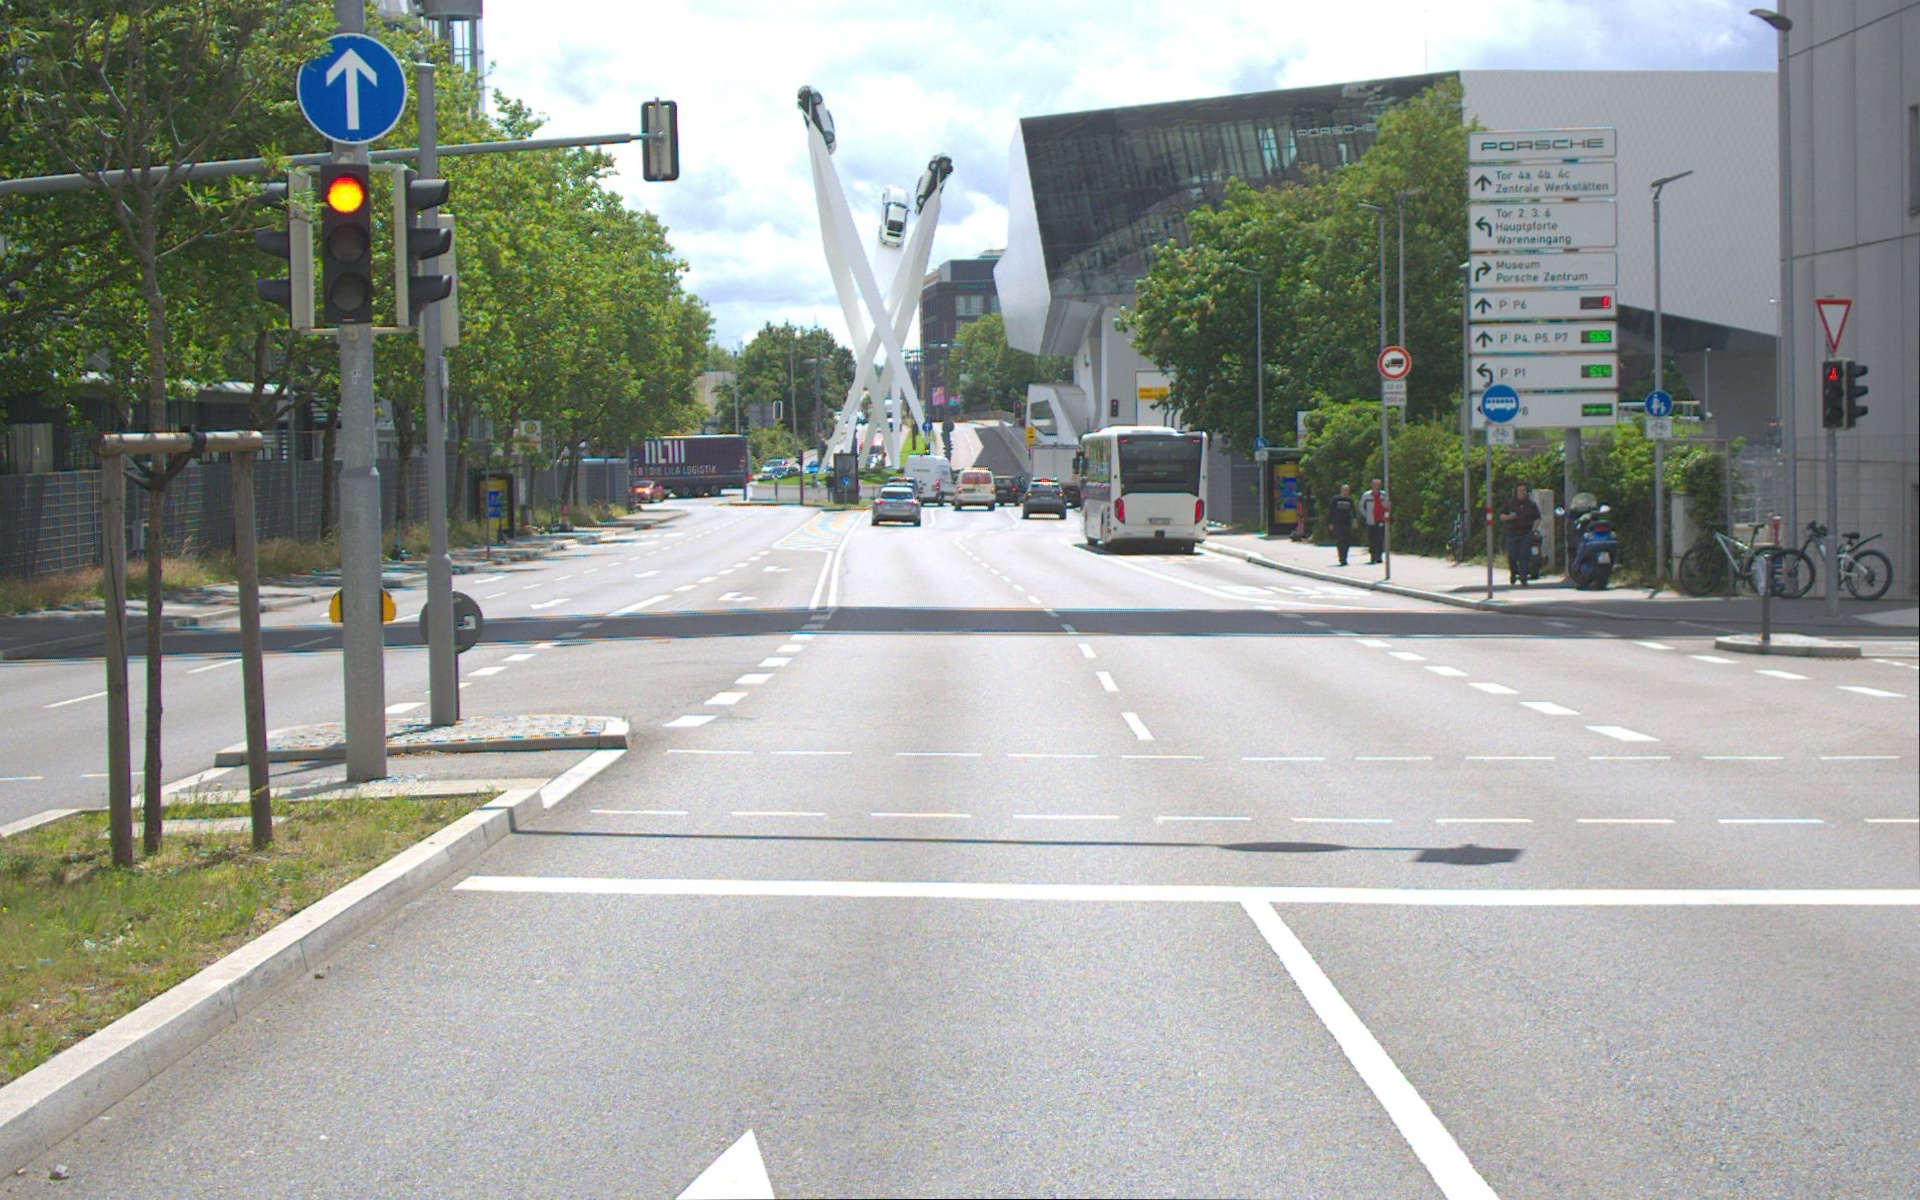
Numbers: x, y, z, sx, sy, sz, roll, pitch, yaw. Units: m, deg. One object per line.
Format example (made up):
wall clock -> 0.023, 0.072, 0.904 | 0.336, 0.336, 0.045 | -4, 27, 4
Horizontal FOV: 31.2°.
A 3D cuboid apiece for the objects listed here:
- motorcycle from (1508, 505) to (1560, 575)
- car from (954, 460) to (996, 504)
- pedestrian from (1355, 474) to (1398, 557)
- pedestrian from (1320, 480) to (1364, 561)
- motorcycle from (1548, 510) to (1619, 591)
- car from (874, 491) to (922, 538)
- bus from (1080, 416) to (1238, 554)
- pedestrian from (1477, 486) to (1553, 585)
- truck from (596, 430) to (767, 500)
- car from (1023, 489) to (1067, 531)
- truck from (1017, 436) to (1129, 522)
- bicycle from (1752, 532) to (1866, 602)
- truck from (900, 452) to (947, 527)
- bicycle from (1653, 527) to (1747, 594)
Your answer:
motorcycle -> 10.338, -1.090, 61.956 | 0.574, 1.199, 2.024 | -2, 2, 0
car -> 0.719, -5.756, 167.675 | 1.993, 2.007, 4.000 | 1, 0, -1
pedestrian -> 8.770, -1.781, 72.353 | 0.820, 1.735, 0.637 | 0, 1, 0
pedestrian -> 8.036, -1.679, 72.377 | 0.820, 1.701, 0.881 | 0, 1, 0
motorcycle -> 9.808, -0.796, 54.130 | 0.706, 1.199, 2.024 | -2, 2, 0
car -> -2.294, -3.193, 128.737 | 1.738, 1.735, 3.692 | 0, 2, 0
bus -> 5.332, -3.115, 94.136 | 3.452, 3.531, 10.607 | 0, 2, -1
pedestrian -> 9.096, -1.062, 56.318 | 0.849, 1.619, 0.954 | 1, 2, 41
truck -> -18.902, -9.135, 234.360 | 12.135, 4.309, 3.572 | 1, 0, -45
car -> 3.591, -3.816, 145.993 | 1.738, 1.735, 3.692 | 0, 2, 0
truck -> 6.010, -6.321, 180.546 | 3.455, 4.376, 9.412 | 1, 2, 17
bicycle -> 11.823, -0.471, 47.914 | 0.397, 0.933, 1.929 | 0, 2, -26
truck -> -1.882, -5.792, 180.597 | 2.392, 3.884, 6.178 | 0, 2, 0
bicycle -> 10.789, -0.586, 50.205 | 0.397, 0.933, 1.929 | 0, 2, -19
